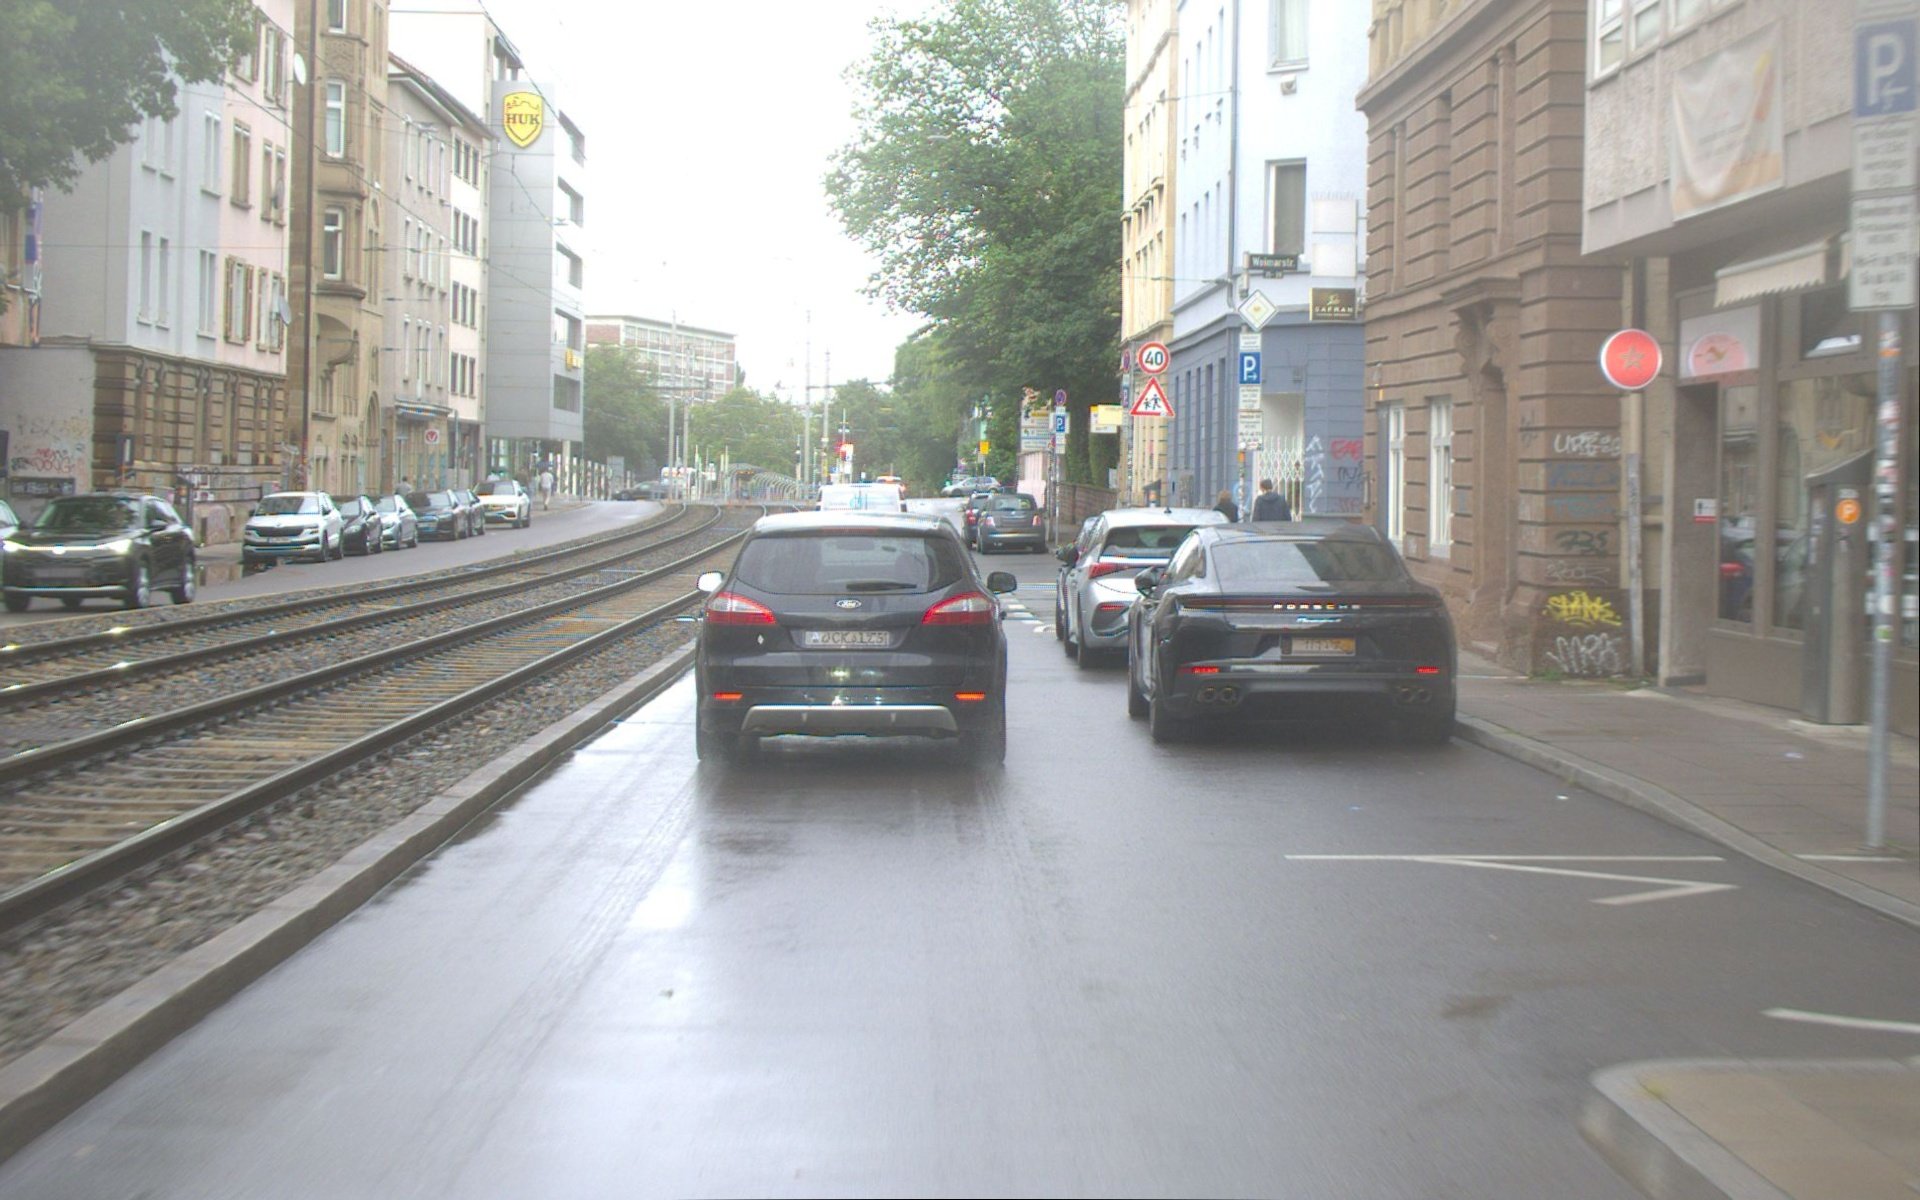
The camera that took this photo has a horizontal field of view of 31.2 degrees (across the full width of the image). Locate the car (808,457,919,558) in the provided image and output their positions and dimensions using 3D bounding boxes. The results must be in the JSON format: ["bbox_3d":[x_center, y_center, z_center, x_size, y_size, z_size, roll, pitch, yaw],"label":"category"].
[{"bbox_3d":[-1.783,-1.727,64.761,1.993,1.810,4.272,1,1,-1],"label":"car"}]

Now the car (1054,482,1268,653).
[{"bbox_3d":[1.946,-0.383,34.452,1.746,1.518,4.356,1,3,-1],"label":"car"}]

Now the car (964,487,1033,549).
[{"bbox_3d":[0.996,-2.194,90.948,1.642,1.510,4.040,1,3,-2],"label":"car"}]

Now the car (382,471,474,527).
[{"bbox_3d":[-15.425,-2.946,99.816,1.993,1.514,4.676,2,2,-1],"label":"car"}]

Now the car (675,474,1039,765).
[{"bbox_3d":[-0.591,0.066,21.153,1.993,1.588,4.272,1,1,-1],"label":"car"}]

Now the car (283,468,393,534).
[{"bbox_3d":[-15.264,-2.443,84.596,1.993,1.514,4.209,2,2,-1],"label":"car"}]

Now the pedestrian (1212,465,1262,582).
[{"bbox_3d":[4.428,-1.230,55.040,0.661,1.845,0.821,1,2,-2],"label":"pedestrian"}]

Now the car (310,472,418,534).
[{"bbox_3d":[-15.444,-2.539,89.300,1.993,1.514,4.993,2,2,-1],"label":"car"}]

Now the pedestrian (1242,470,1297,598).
[{"bbox_3d":[4.954,-1.062,55.088,0.736,2.006,0.821,1,2,-2],"label":"pedestrian"}]

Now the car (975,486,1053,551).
[{"bbox_3d":[1.345,-2.067,86.357,1.738,1.484,4.001,1,3,-2],"label":"car"}]

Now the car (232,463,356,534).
[{"bbox_3d":[-15.133,-2.316,78.333,1.993,1.514,4.436,2,2,-1],"label":"car"}]

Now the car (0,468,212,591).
[{"bbox_3d":[-11.504,-0.977,46.169,1.993,1.514,4.445,2,2,-1],"label":"car"}]

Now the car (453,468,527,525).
[{"bbox_3d":[-16.048,-3.558,117.566,1.993,1.832,5.072,2,2,-2],"label":"car"}]

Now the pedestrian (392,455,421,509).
[{"bbox_3d":[-18.114,-3.867,112.490,0.801,1.744,0.984,1,2,-2],"label":"pedestrian"}]

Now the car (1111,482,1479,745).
[{"bbox_3d":[2.150,0.039,23.319,1.993,1.588,4.572,1,1,-1],"label":"car"}]

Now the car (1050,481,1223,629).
[{"bbox_3d":[1.958,-0.559,39.288,1.720,1.510,4.259,1,3,0],"label":"car"}]

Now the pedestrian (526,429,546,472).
[{"bbox_3d":[-18.492,-6.501,149.951,0.744,1.847,0.839,1,1,-2],"label":"pedestrian"}]

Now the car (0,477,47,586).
[{"bbox_3d":[-14.744,-1.026,50.248,1.721,1.565,4.220,2,2,-1],"label":"car"}]
